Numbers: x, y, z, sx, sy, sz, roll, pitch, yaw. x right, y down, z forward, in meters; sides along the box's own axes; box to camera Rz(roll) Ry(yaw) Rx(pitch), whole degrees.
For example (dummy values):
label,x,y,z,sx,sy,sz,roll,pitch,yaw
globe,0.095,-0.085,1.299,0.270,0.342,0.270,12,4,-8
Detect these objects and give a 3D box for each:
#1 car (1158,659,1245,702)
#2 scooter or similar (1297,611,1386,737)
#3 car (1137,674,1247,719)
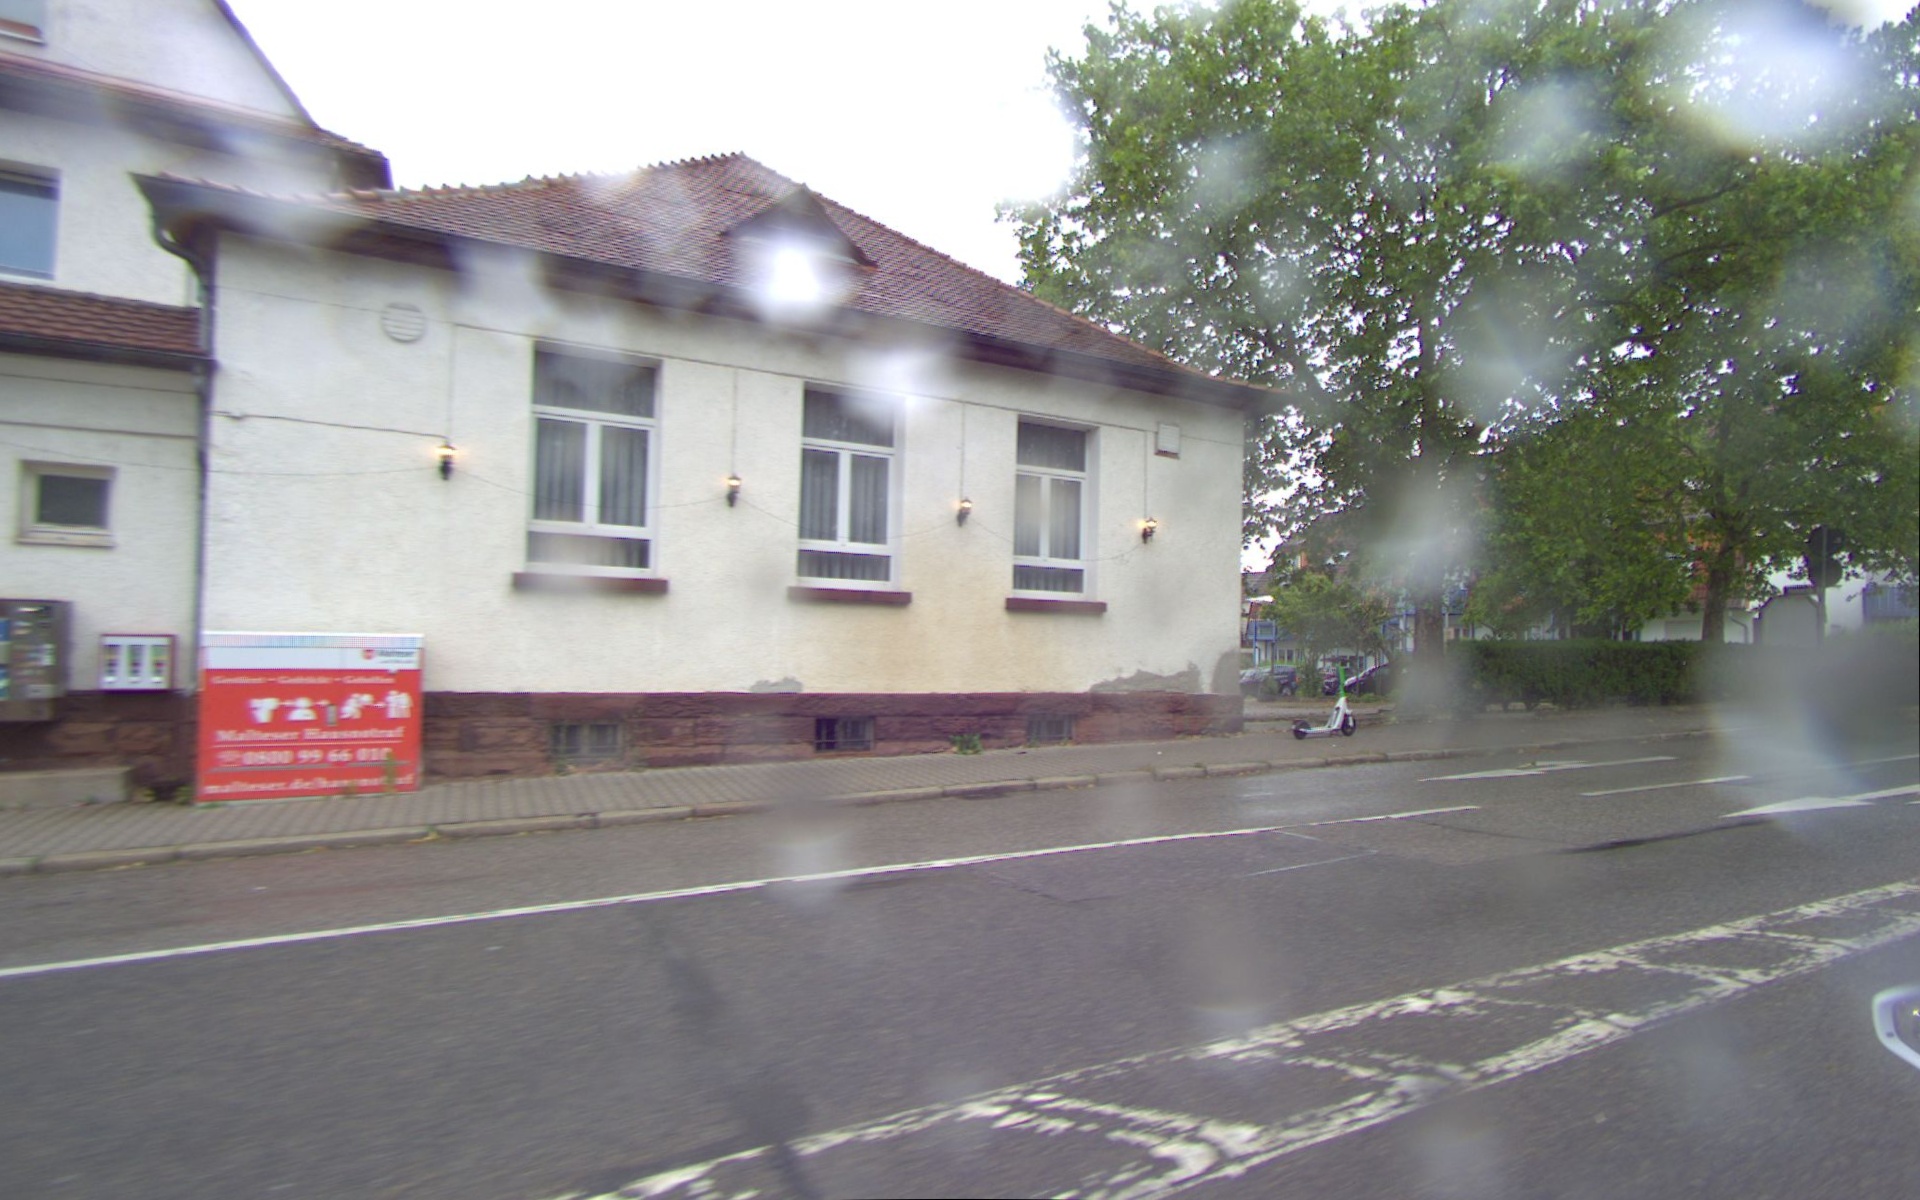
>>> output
label,x,y,z,sx,sy,sz,roll,pitch,yaw
car,11.102,3.753,46.442,1.716,1.887,3.975,1,-5,-27
scooter or similar,5.663,1.079,14.864,1.496,1.798,0.399,2,-2,-32
car,9.225,3.780,39.940,3.951,1.605,1.986,1,-4,-29
